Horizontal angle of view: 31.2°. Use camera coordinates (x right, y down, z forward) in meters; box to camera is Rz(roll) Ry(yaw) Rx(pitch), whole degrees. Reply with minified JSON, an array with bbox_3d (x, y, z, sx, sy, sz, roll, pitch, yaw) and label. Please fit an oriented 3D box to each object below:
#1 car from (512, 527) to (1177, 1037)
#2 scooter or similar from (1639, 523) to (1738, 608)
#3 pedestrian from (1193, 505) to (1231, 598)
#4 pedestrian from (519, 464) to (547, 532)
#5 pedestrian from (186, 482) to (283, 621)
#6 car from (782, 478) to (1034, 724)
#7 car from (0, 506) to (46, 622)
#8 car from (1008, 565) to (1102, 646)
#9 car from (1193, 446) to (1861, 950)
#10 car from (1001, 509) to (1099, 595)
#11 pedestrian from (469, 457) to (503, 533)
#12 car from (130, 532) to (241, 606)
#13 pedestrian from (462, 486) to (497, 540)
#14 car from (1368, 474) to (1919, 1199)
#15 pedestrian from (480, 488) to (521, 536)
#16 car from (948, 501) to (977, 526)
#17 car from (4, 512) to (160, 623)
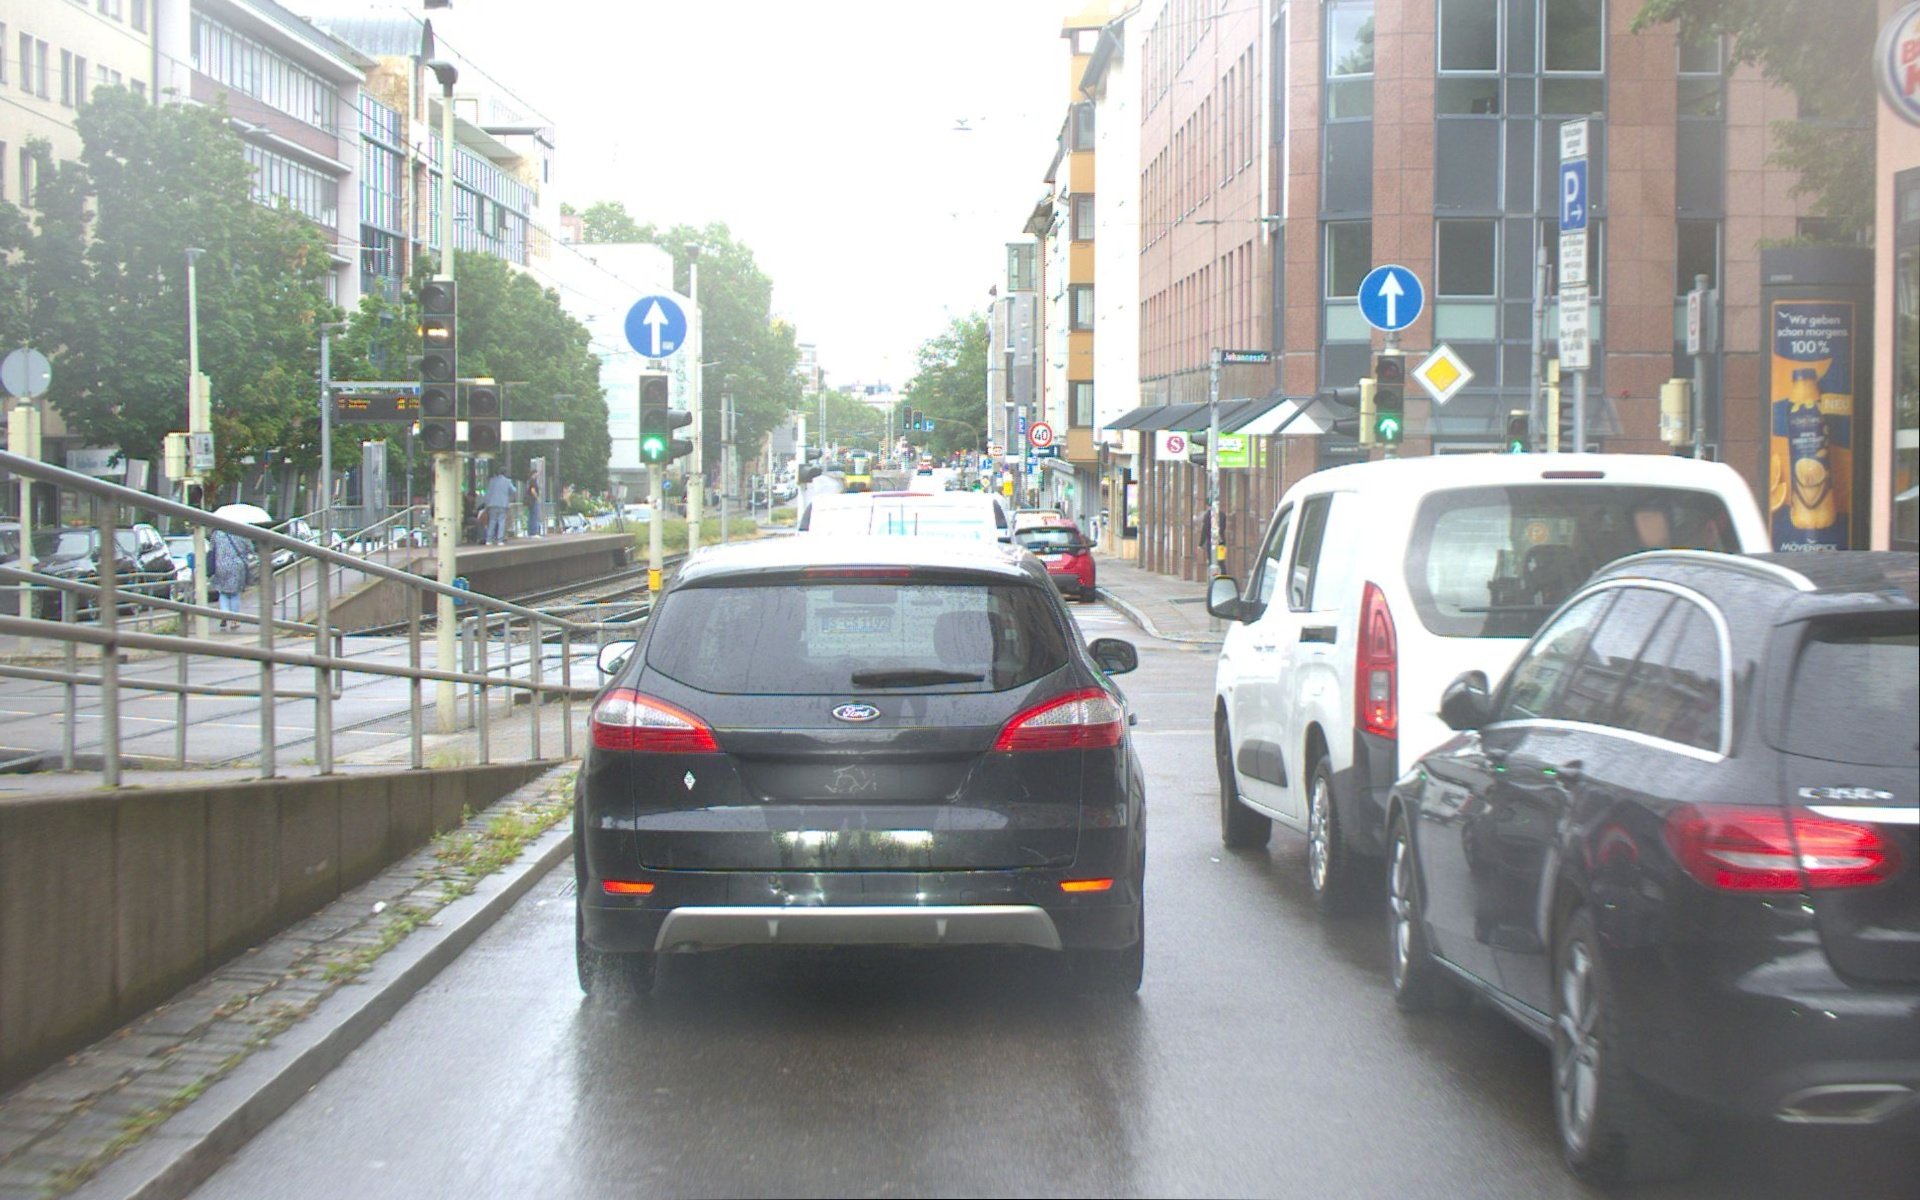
[{"bbox_3d":[-0.331,0.494,11.620,1.906,1.457,3.445,0,1,0],"label":"car"},{"bbox_3d":[10.686,-0.502,50.434,1.374,1.223,0.325,-1,1,3],"label":"scooter or similar"},{"bbox_3d":[4.564,-0.880,62.299,0.601,1.653,0.625,-1,1,0],"label":"pedestrian"},{"bbox_3d":[-11.323,-2.706,91.136,0.655,1.795,0.850,-1,1,-2],"label":"pedestrian"},{"bbox_3d":[-10.729,-0.717,50.866,1.116,2.007,1.383,-1,1,0],"label":"pedestrian"},{"bbox_3d":[-0.395,-0.033,28.499,1.906,1.858,4.574,0,1,0],"label":"car"},{"bbox_3d":[-16.187,-0.594,55.825,1.707,1.852,4.322,-1,2,-3],"label":"car"},{"bbox_3d":[1.852,0.083,68.094,1.698,1.457,3.867,-2,1,0],"label":"car"},{"bbox_3d":[2.208,0.310,14.776,1.906,1.800,4.778,0,1,-2],"label":"car"},{"bbox_3d":[1.654,-0.906,63.751,1.698,1.474,3.867,-2,1,1],"label":"car"},{"bbox_3d":[-10.685,-2.362,77.567,0.655,1.705,0.850,-1,1,-2],"label":"pedestrian"},{"bbox_3d":[-15.871,-0.665,70.595,1.568,1.431,3.980,-1,2,-3],"label":"car"},{"bbox_3d":[-11.151,-2.021,79.779,0.692,1.245,0.884,-1,1,-2],"label":"pedestrian"},{"bbox_3d":[2.289,0.514,9.031,1.906,1.610,4.414,0,1,0],"label":"car"},{"bbox_3d":[-10.981,-2.108,82.169,0.892,1.119,0.850,-1,1,-11],"label":"pedestrian"},{"bbox_3d":[0.162,-5.878,234.678,1.906,1.627,4.574,0,1,1],"label":"car"},{"bbox_3d":[-15.417,-0.611,60.585,1.802,1.852,4.381,-1,2,-3],"label":"car"}]
